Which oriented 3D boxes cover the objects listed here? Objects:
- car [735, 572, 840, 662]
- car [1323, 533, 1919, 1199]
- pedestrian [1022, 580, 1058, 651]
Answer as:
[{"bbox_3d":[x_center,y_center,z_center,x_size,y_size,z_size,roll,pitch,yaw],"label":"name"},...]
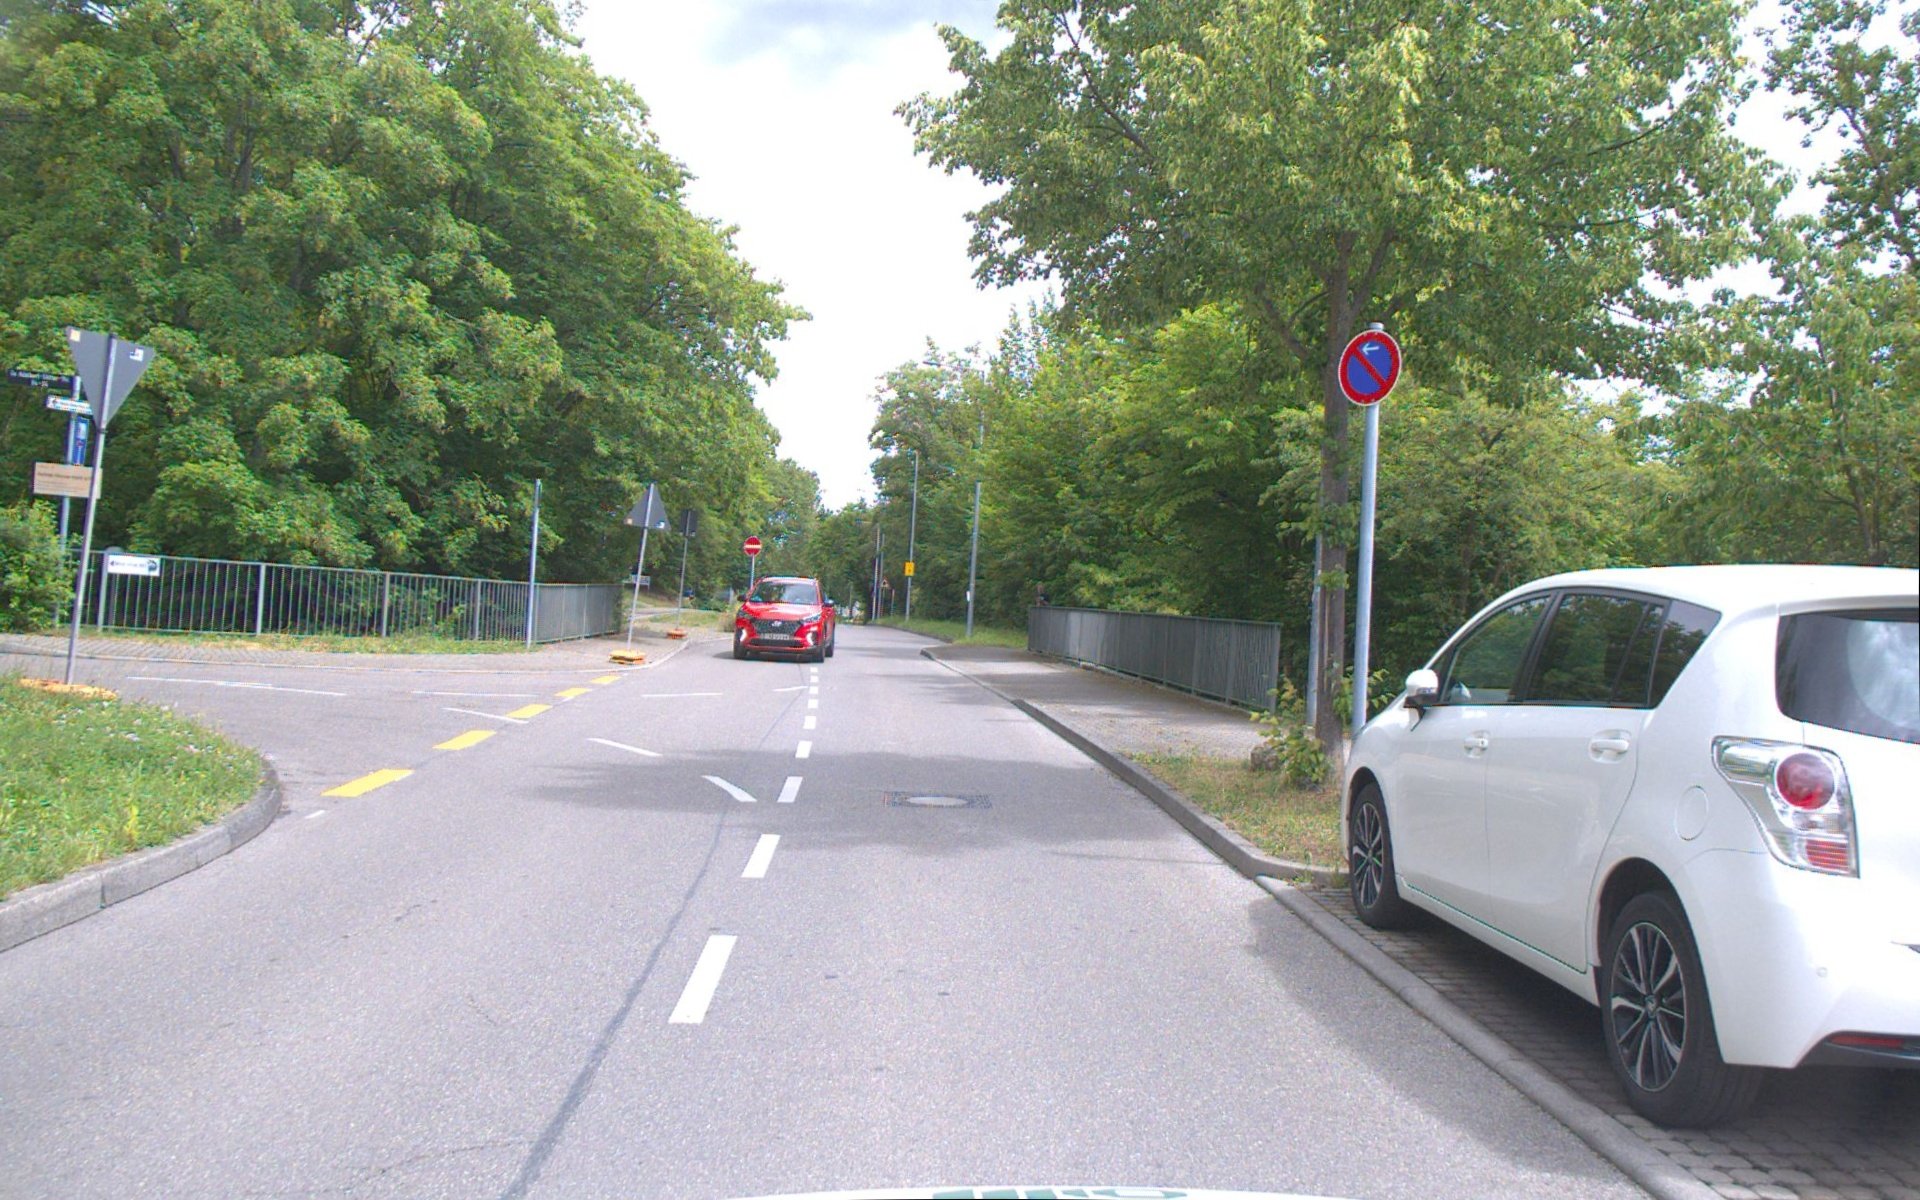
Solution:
[{"bbox_3d":[-3.538,0.313,34.518,1.806,1.687,4.220,3,0,-2],"label":"car"},{"bbox_3d":[2.848,0.658,6.239,1.769,1.628,4.369,1,0,-3],"label":"car"},{"bbox_3d":[2.084,0.404,43.163,0.581,1.814,0.675,4,-2,-30],"label":"pedestrian"}]
